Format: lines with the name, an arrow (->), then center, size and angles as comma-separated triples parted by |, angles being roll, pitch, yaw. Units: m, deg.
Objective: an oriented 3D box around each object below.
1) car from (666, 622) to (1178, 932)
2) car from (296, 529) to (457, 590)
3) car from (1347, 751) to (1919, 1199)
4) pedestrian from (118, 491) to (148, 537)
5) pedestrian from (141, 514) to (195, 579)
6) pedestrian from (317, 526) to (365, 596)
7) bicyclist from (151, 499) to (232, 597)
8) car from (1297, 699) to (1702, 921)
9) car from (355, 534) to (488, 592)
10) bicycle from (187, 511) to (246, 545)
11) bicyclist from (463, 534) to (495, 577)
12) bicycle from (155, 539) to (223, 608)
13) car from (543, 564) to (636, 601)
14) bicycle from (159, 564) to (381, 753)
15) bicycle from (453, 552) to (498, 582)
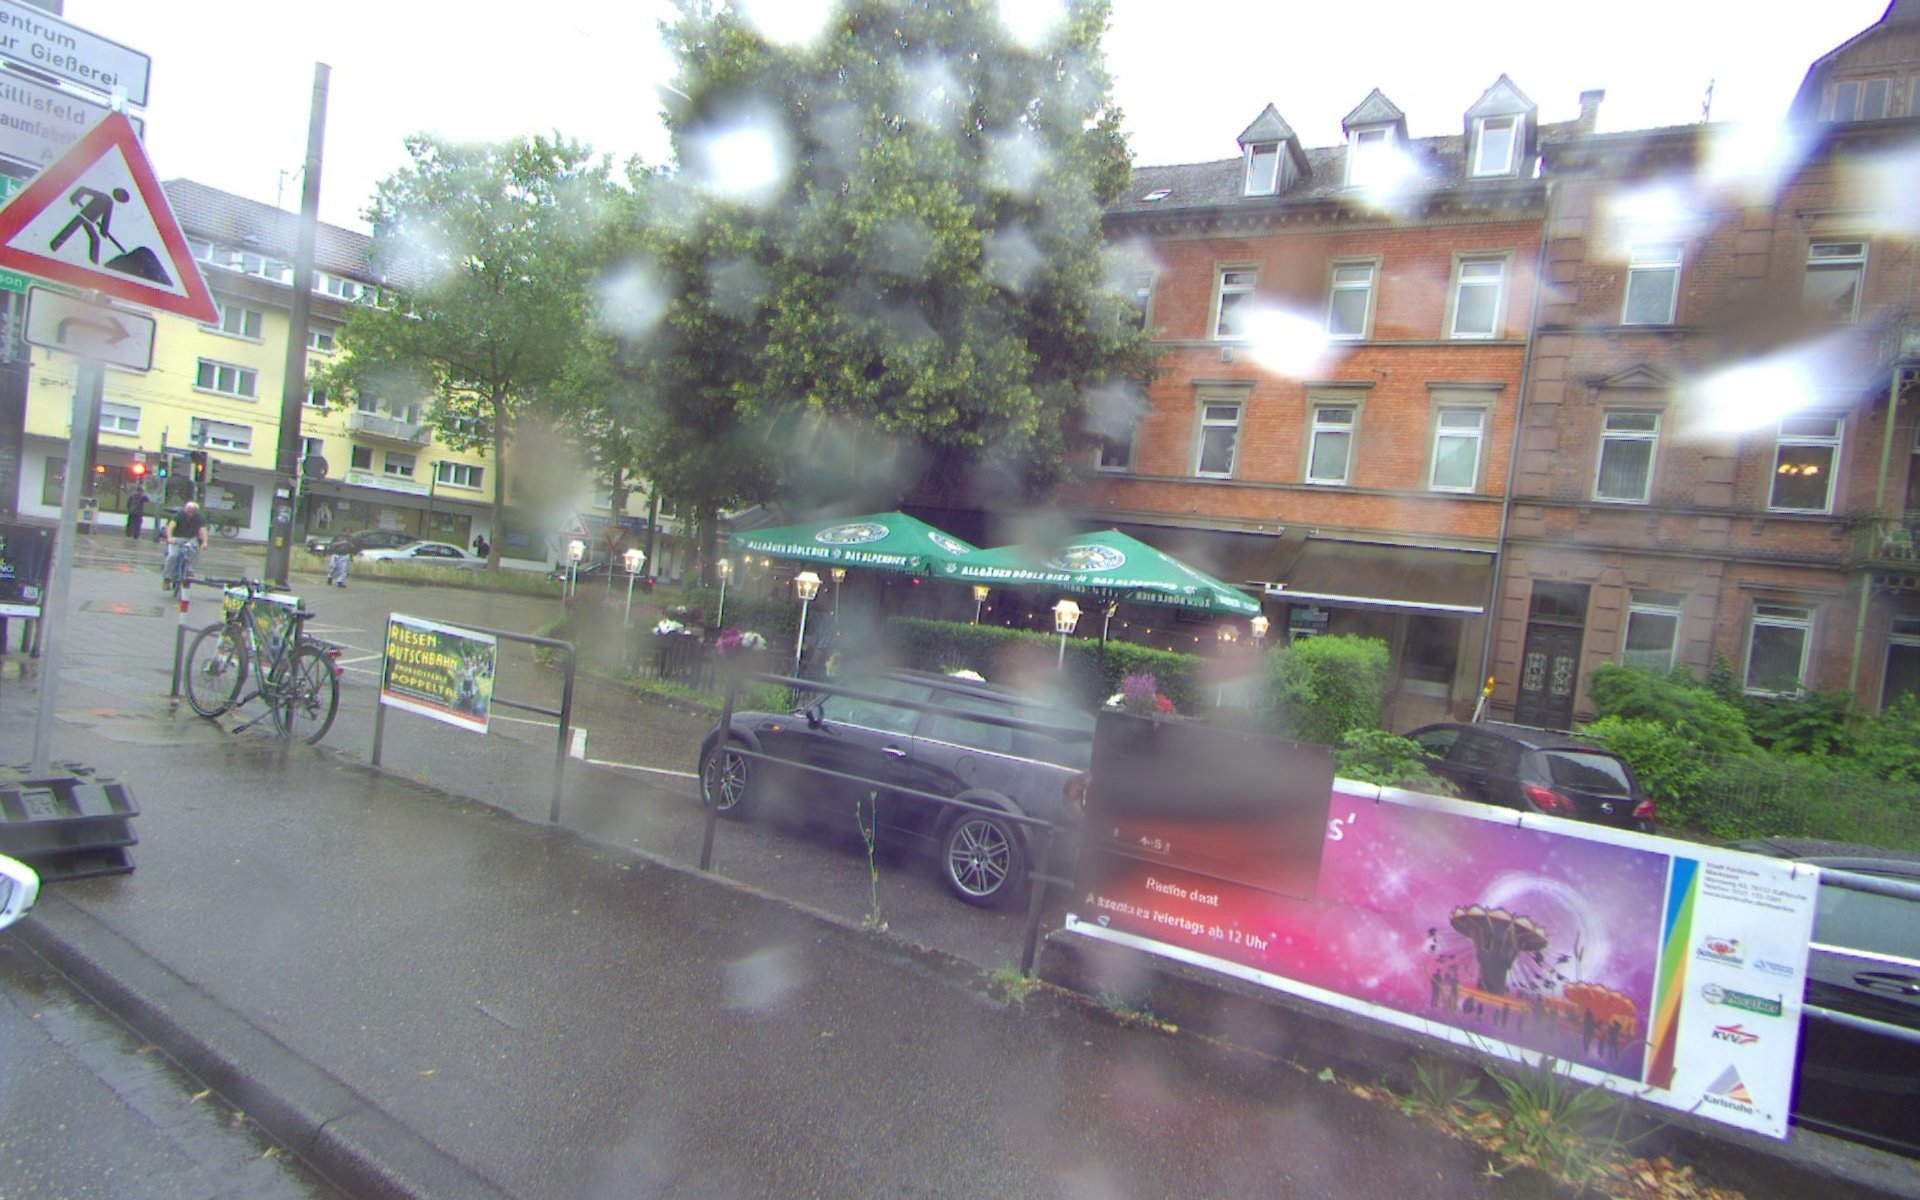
car -> -0.354, 1.215, 7.804 | 3.468, 1.457, 1.710 | 8, -3, 34
car -> -22.446, -1.522, 38.825 | 1.975, 1.661, 4.928 | 3, -4, 43
car -> 4.194, 1.824, 4.962 | 3.907, 1.416, 1.706 | 7, -1, 32
pedestrian -> -29.538, -3.063, 35.928 | 0.616, 1.518, 0.548 | 7, 0, -32
pedestrian -> -20.575, -1.374, 26.159 | 0.612, 1.552, 0.816 | 7, 0, -6
pedestrian -> -16.276, -1.029, 26.439 | 0.899, 1.689, 1.011 | 7, -1, -33
bicyclist -> -13.833, -0.934, 18.112 | 0.848, 1.602, 0.877 | 7, -1, 42
car -> 6.248, 2.377, 12.253 | 1.970, 1.733, 3.987 | 8, -1, -16
car -> -19.871, -1.361, 37.188 | 3.926, 1.508, 1.784 | 8, 0, -43
bicycle -> -35.604, -3.437, 48.198 | 2.096, 1.277, 0.525 | 8, 0, -44
bicyclist -> -19.984, -1.841, 41.798 | 0.699, 1.634, 0.815 | 7, 0, 33
bicycle -> -13.899, -0.491, 18.125 | 1.873, 1.040, 0.458 | 8, 1, 39
car -> -15.537, -0.708, 42.276 | 1.227, 1.095, 3.531 | 7, -2, 34
bicycle -> -5.179, 0.403, 7.501 | 1.984, 1.119, 0.515 | 7, -3, 33
bicycle -> -20.077, -1.355, 41.731 | 0.415, 1.013, 1.640 | 7, -1, 32
